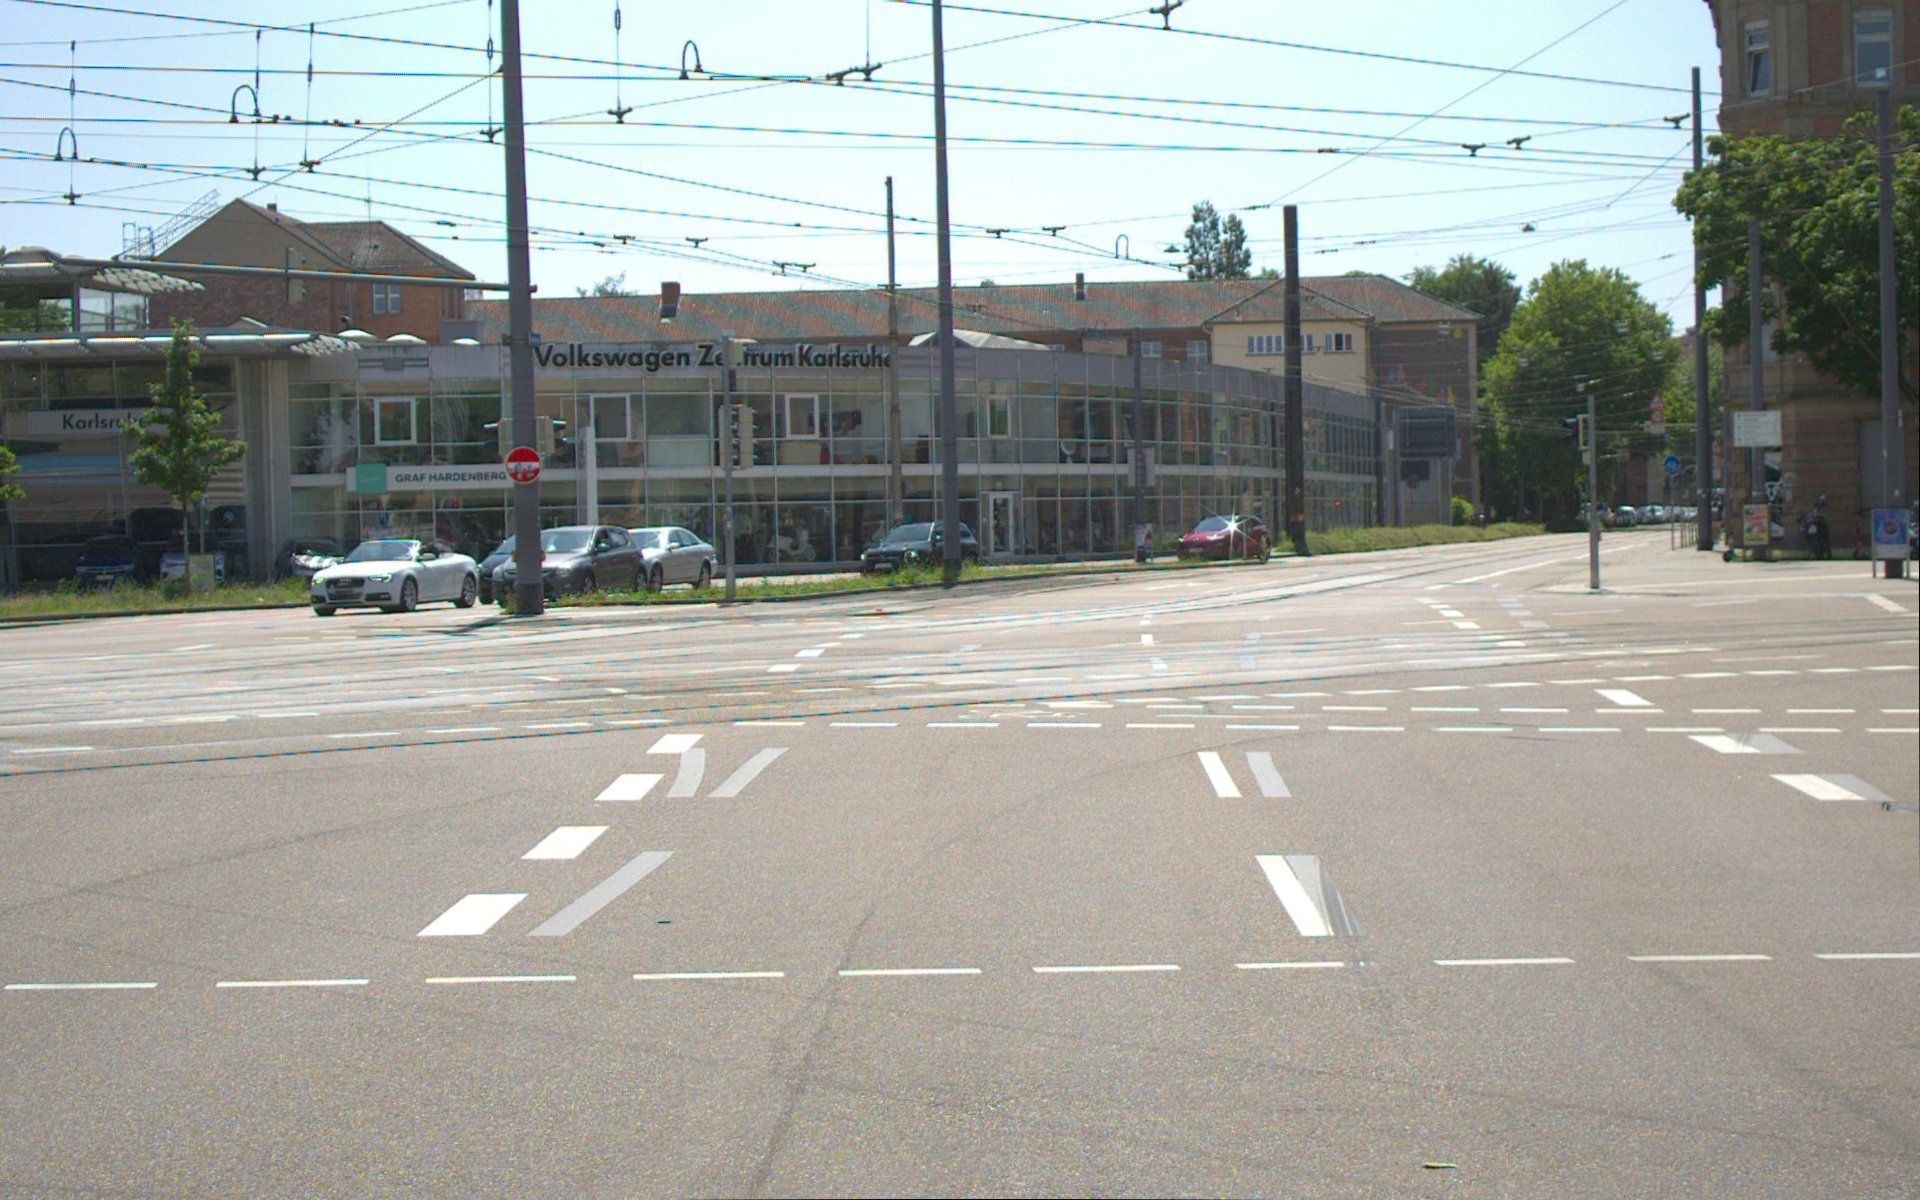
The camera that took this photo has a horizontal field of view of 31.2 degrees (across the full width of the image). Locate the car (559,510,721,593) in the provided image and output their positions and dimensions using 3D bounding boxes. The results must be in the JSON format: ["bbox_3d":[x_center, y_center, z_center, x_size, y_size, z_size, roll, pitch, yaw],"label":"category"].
[{"bbox_3d":[-7.060,-1.094,76.336,1.995,1.733,4.540,-1,1,17],"label":"car"}]

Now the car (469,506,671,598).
[{"bbox_3d":[-7.262,-0.928,64.565,1.995,1.631,4.843,-1,1,17],"label":"car"}]

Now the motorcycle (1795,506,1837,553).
[{"bbox_3d":[19.693,-1.628,79.135,0.580,1.071,1.946,-1,1,3],"label":"motorcycle"}]

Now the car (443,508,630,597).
[{"bbox_3d":[-8.614,-0.997,70.393,1.995,1.694,4.843,-1,1,17],"label":"car"}]

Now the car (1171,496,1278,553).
[{"bbox_3d":[8.607,-2.433,111.665,1.997,1.769,3.994,1,1,28],"label":"car"}]

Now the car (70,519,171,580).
[{"bbox_3d":[-24.399,-1.461,100.064,1.920,1.701,4.000,1,0,0],"label":"car"}]

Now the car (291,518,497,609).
[{"bbox_3d":[-10.509,-0.715,64.257,2.078,1.574,4.844,-1,1,13],"label":"car"}]

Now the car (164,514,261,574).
[{"bbox_3d":[-21.741,-1.621,100.097,1.920,1.701,4.000,1,0,0],"label":"car"}]

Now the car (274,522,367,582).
[{"bbox_3d":[-18.615,-1.383,100.206,1.920,1.701,4.000,1,0,0],"label":"car"}]

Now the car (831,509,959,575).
[{"bbox_3d":[-1.721,-1.584,93.095,2.080,1.677,4.843,-1,1,17],"label":"car"}]

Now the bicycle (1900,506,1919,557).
[{"bbox_3d":[22.157,-1.576,79.562,0.442,1.142,2.093,1,0,6],"label":"bicycle"}]
